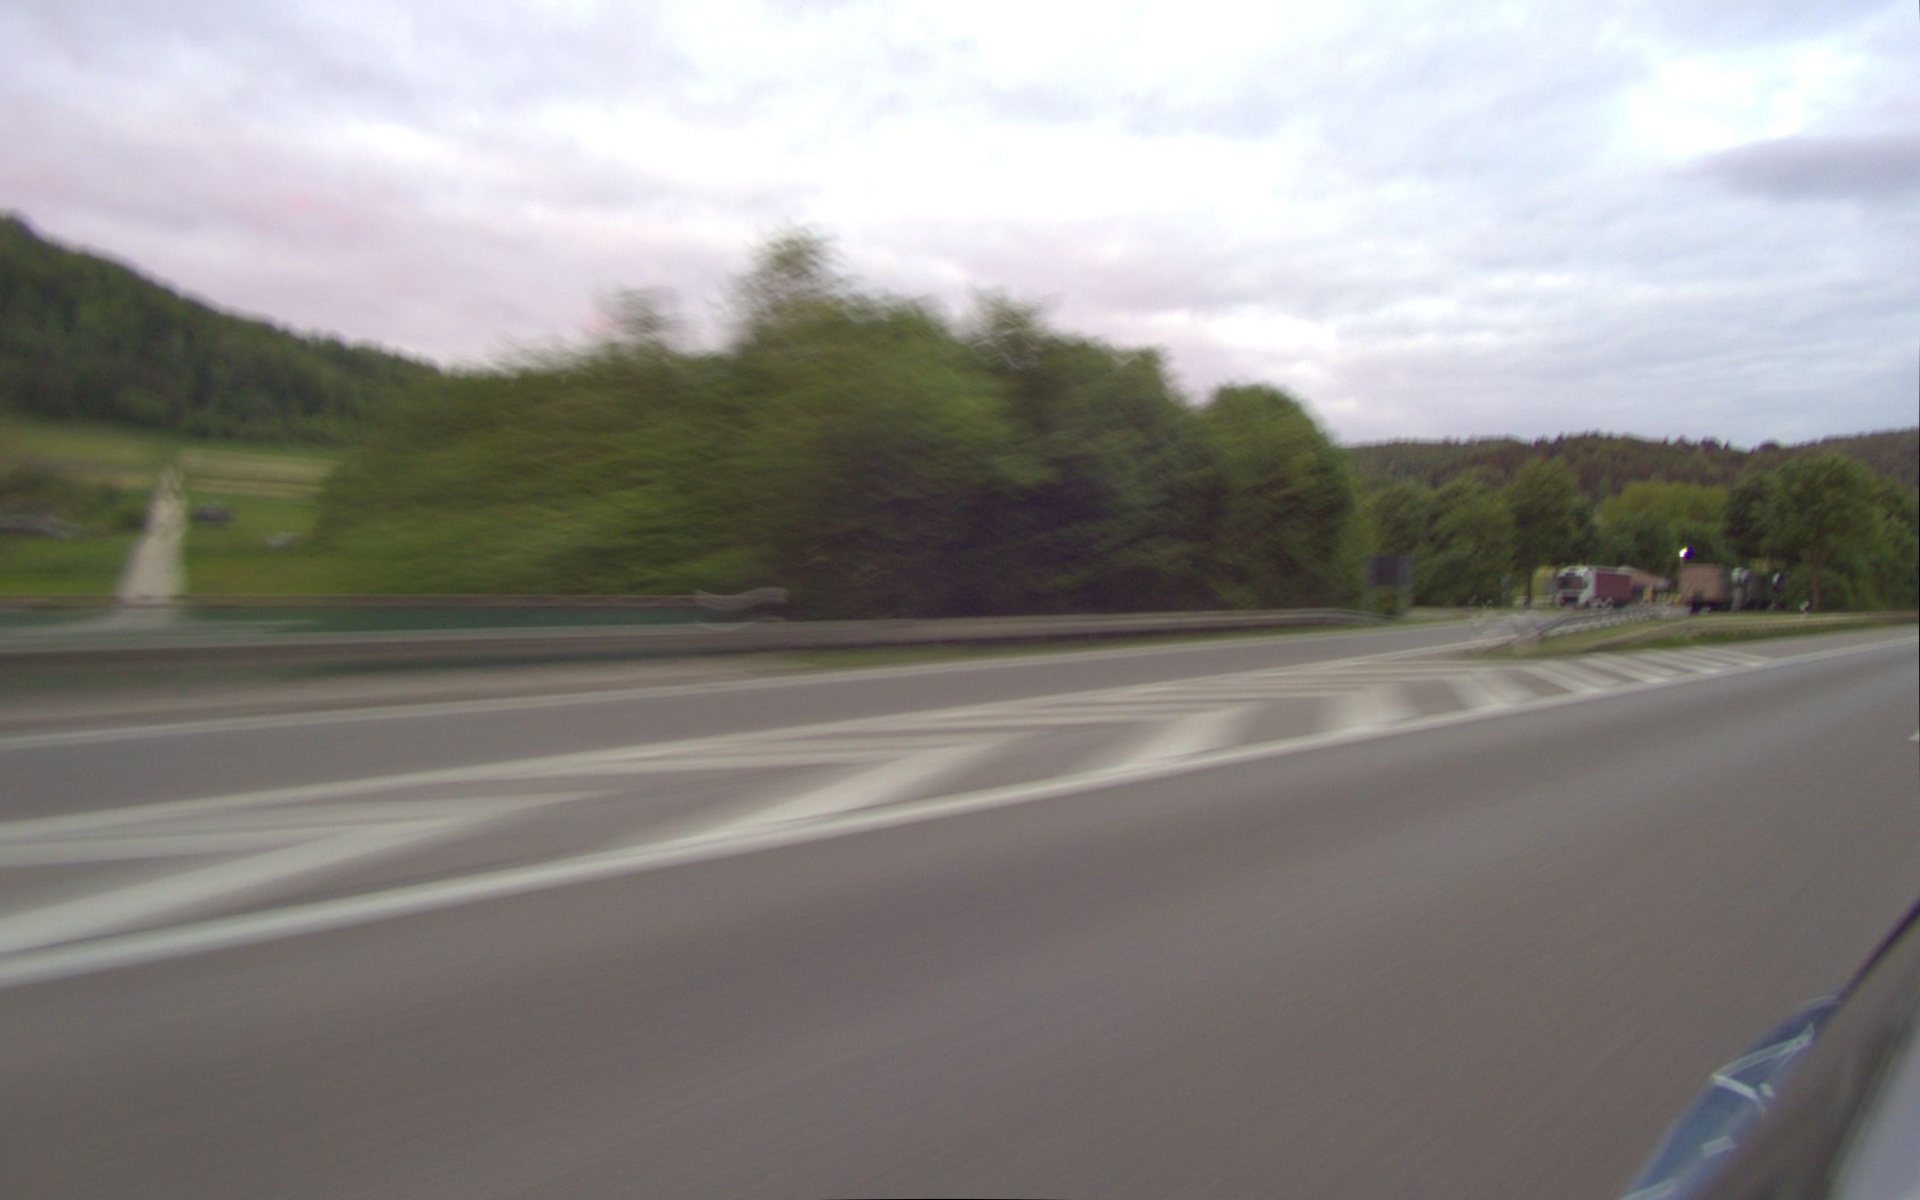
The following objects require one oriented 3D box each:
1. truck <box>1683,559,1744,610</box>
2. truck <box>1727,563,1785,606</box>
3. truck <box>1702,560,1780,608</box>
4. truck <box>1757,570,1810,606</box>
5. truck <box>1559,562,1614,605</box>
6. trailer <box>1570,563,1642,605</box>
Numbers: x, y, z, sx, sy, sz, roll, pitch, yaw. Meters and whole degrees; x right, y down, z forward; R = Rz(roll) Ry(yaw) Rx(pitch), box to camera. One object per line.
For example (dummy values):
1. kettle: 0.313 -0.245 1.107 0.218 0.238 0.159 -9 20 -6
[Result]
1. truck: 63.436 -1.281 85.077 2.838 3.964 11.804 2 2 43
2. truck: 83.636 -1.638 106.277 3.774 4.281 8.674 2 2 45
3. truck: 76.848 -1.577 99.347 3.776 4.281 19.214 2 2 44
4. truck: 94.739 -1.389 116.363 11.792 3.964 3.356 0 2 -44
5. truck: 60.210 -1.549 97.177 6.277 3.964 2.842 0 2 -43
6. trailer: 65.100 -1.585 101.753 13.348 3.964 2.842 0 2 -43
